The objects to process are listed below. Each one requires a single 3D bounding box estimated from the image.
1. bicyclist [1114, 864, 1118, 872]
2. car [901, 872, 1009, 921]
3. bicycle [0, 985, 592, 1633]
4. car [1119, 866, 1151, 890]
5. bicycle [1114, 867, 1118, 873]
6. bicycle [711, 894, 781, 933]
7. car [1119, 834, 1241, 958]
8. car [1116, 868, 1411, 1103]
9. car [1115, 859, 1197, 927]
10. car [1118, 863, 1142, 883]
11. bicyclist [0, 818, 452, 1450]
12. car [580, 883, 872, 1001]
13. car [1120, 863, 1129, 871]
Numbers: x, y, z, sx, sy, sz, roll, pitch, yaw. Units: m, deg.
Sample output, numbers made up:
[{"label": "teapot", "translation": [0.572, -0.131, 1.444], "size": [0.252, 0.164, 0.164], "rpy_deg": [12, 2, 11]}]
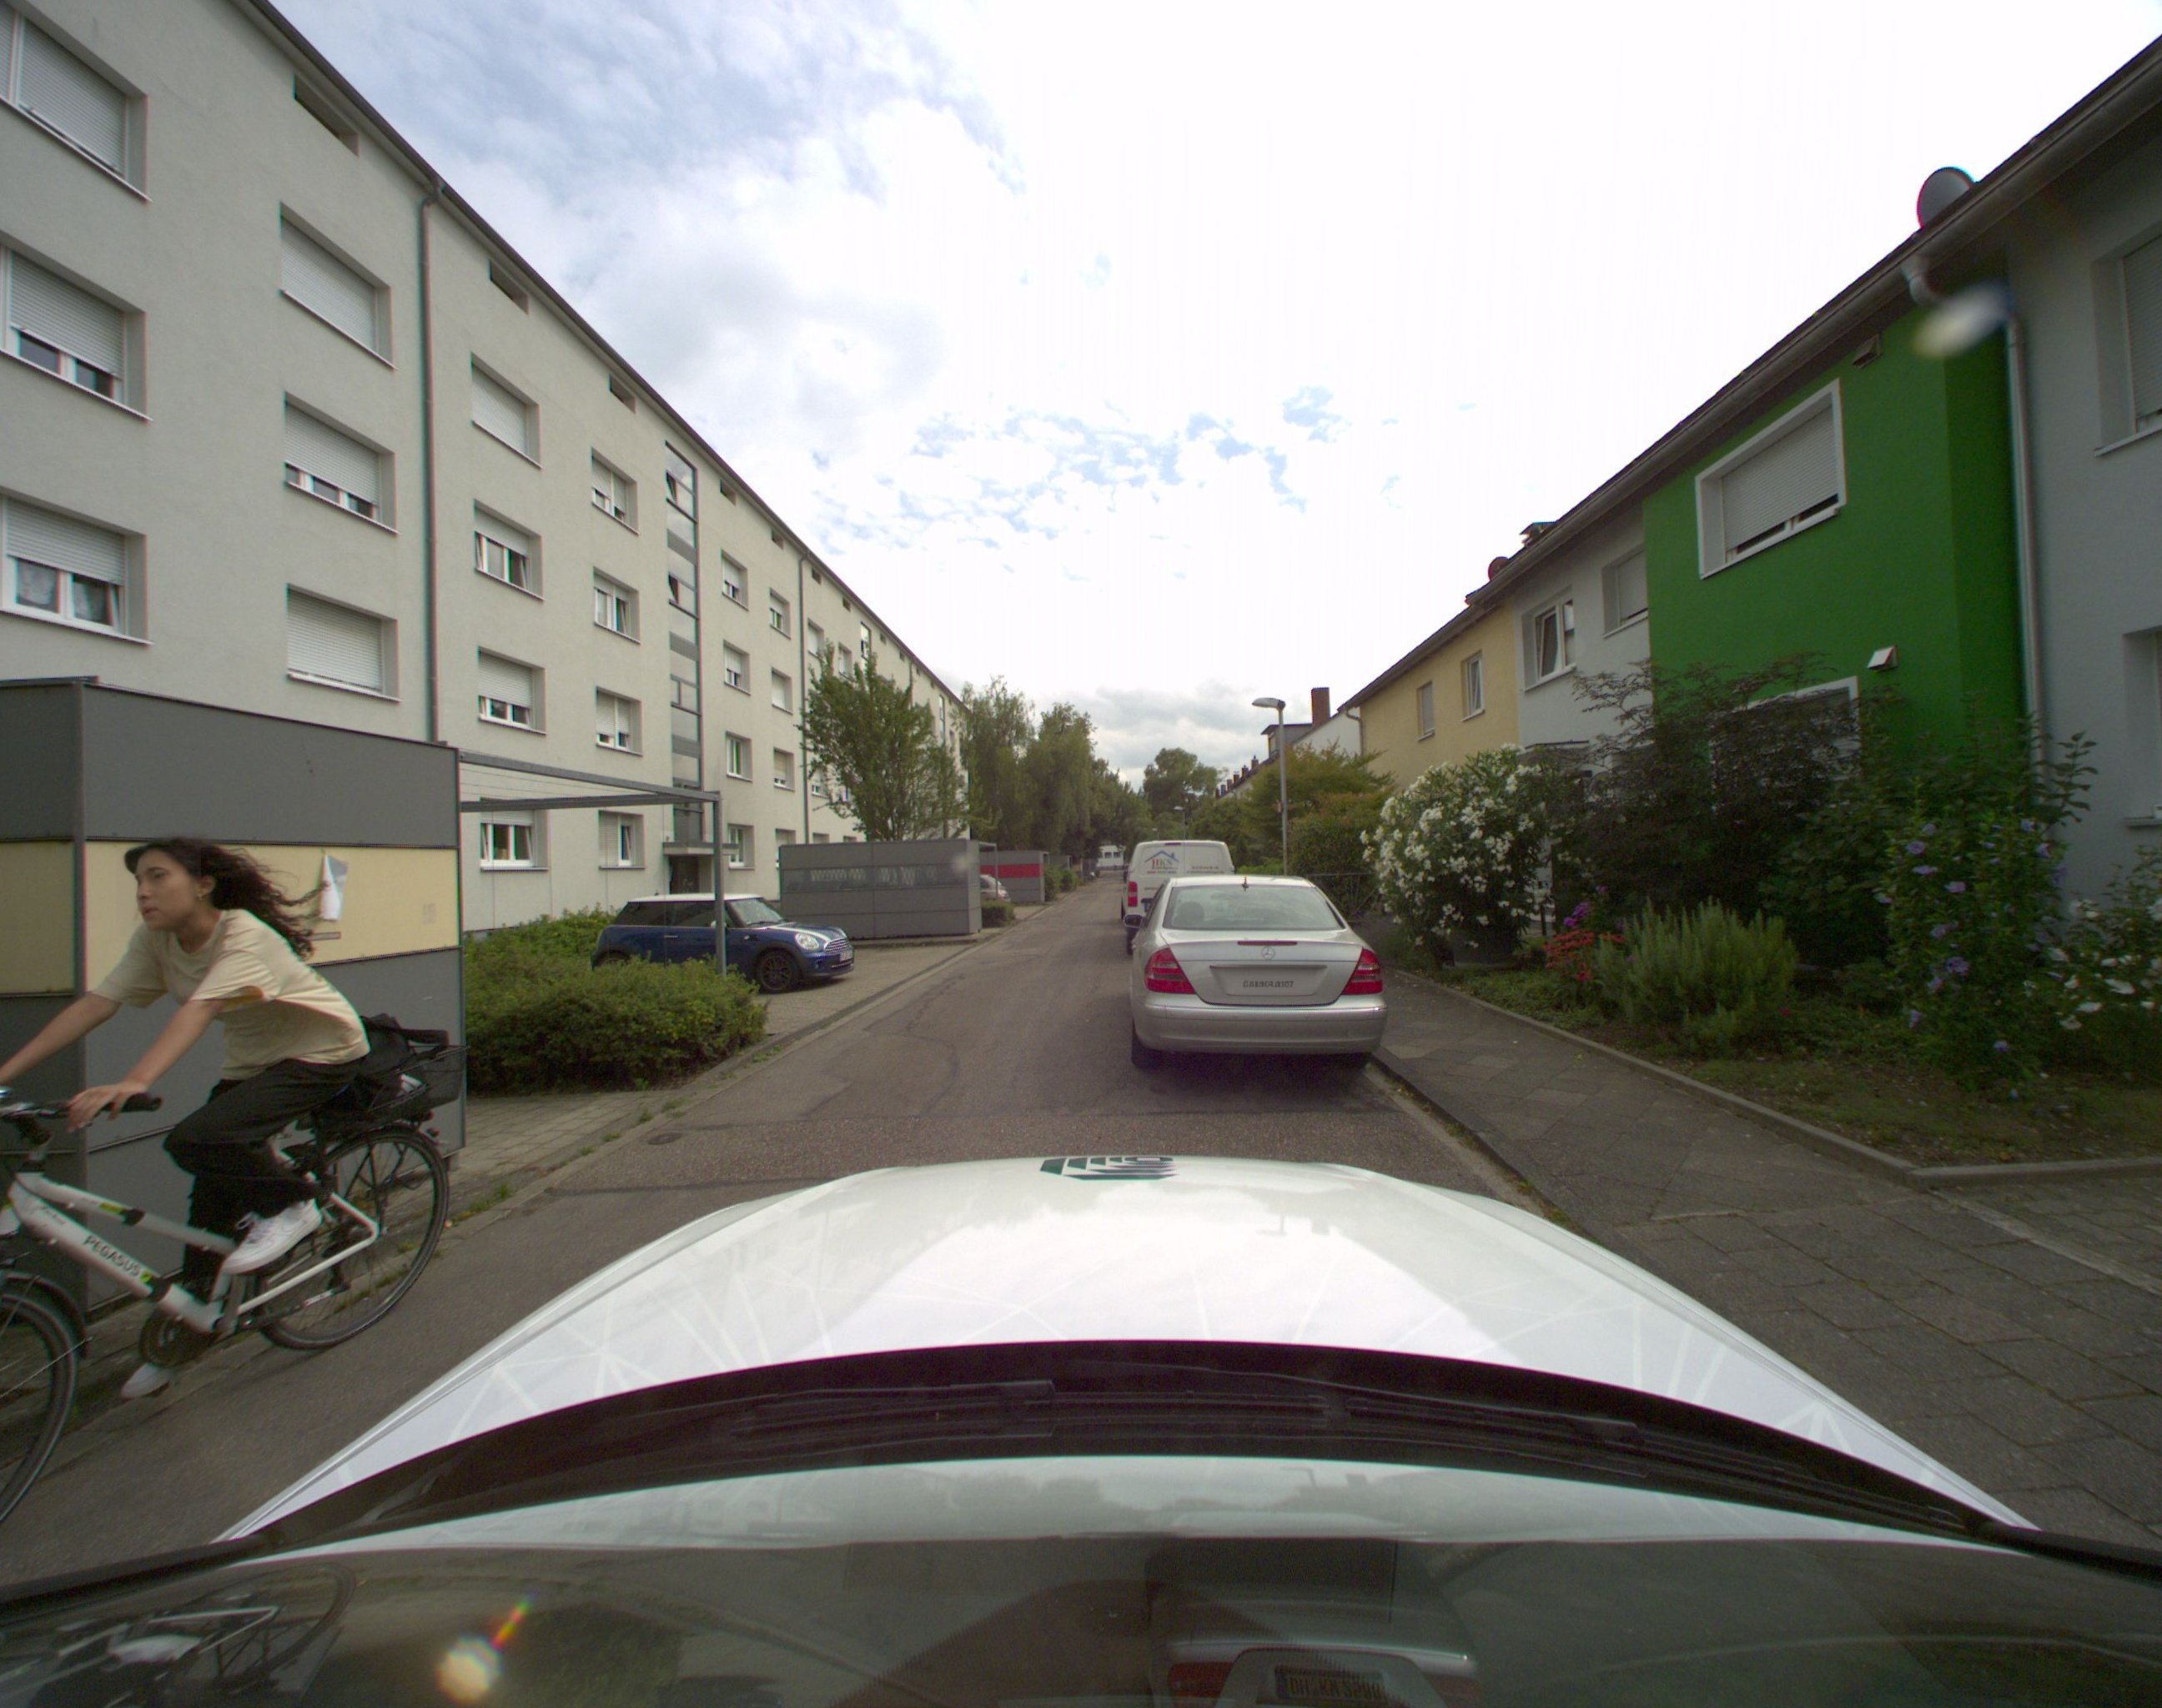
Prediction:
[{"label": "bicyclist", "translation": [6.486, 2.635, 151.421], "size": [0.795, 1.511, 0.935], "rpy_deg": [-1, -1, 5]}, {"label": "car", "translation": [-4.454, 1.494, 29.212], "size": [3.552, 1.480, 1.709], "rpy_deg": [-3, -1, -2]}, {"label": "bicycle", "translation": [-2.515, 1.112, 2.523], "size": [0.594, 1.076, 2.045], "rpy_deg": [-4, -1, 4]}, {"label": "car", "translation": [3.219, 1.417, 48.754], "size": [1.817, 1.370, 4.334], "rpy_deg": [0, -1, 3]}, {"label": "bicycle", "translation": [6.480, 2.942, 151.292], "size": [0.685, 1.131, 2.582], "rpy_deg": [-1, -1, 5]}, {"label": "bicycle", "translation": [-9.833, 1.722, 23.947], "size": [1.820, 1.024, 0.474], "rpy_deg": [-1, -1, -38]}, {"label": "car", "translation": [1.707, 0.710, 15.701], "size": [1.896, 1.964, 5.256], "rpy_deg": [-1, -1, 2]}, {"label": "car", "translation": [1.293, 0.855, 7.264], "size": [1.775, 1.421, 4.460], "rpy_deg": [-1, -1, 4]}, {"label": "car", "translation": [1.919, 0.990, 21.991], "size": [1.819, 1.636, 4.161], "rpy_deg": [-1, -1, 0]}, {"label": "car", "translation": [4.005, 1.537, 67.363], "size": [1.818, 1.581, 4.001], "rpy_deg": [0, -1, 1]}, {"label": "bicyclist", "translation": [-2.544, 0.720, 2.463], "size": [0.594, 1.581, 0.768], "rpy_deg": [-4, -1, 4]}, {"label": "car", "translation": [-5.252, 1.275, 12.310], "size": [3.616, 1.461, 1.655], "rpy_deg": [-3, -1, 6]}, {"label": "car", "translation": [8.867, 2.725, 165.544], "size": [1.817, 1.581, 4.003], "rpy_deg": [0, -1, 3]}]
